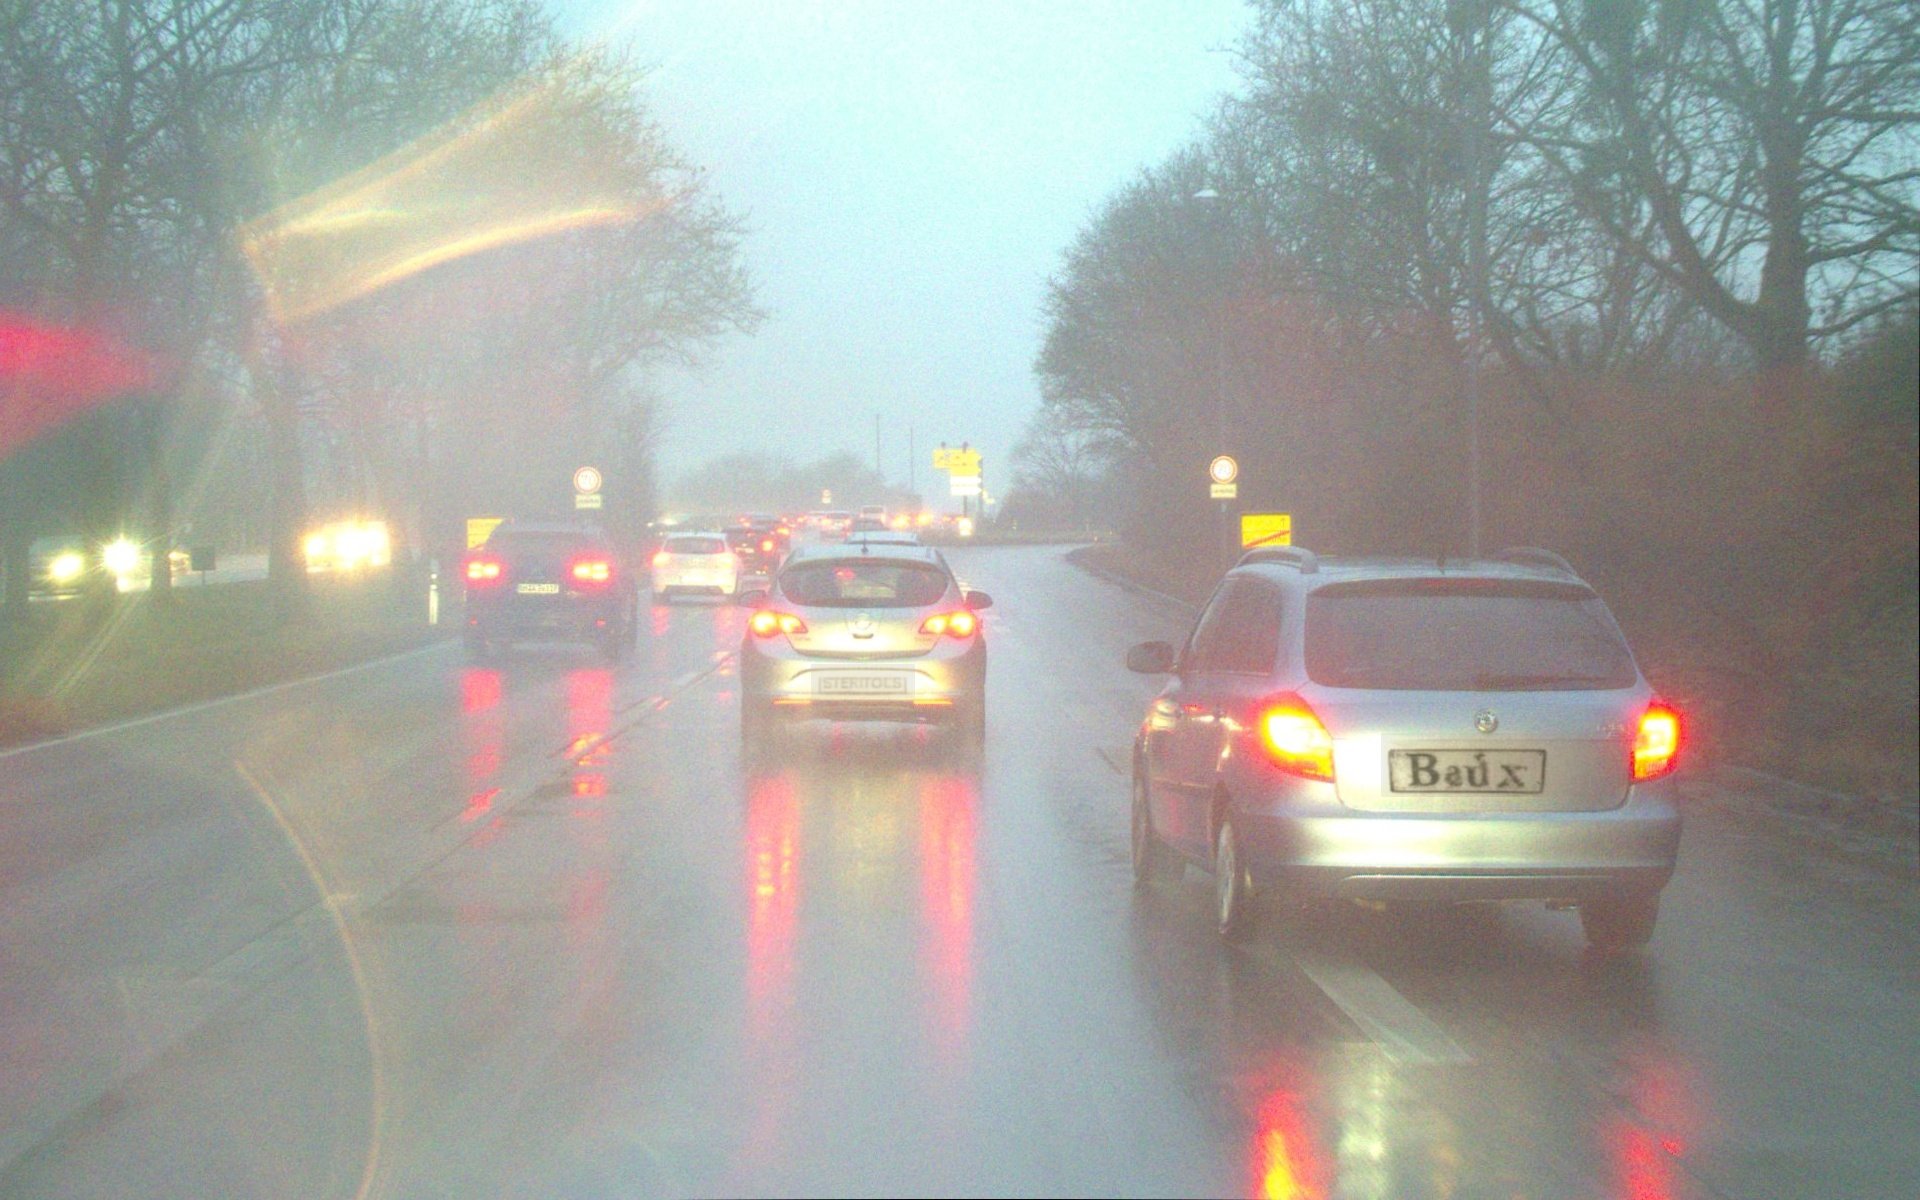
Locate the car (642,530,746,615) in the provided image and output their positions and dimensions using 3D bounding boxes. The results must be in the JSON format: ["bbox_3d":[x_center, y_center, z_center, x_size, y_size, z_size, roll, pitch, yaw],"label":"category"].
[{"bbox_3d":[-5.349,-0.553,69.448,1.822,1.642,4.000,0,0,-1],"label":"car"}]

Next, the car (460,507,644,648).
[{"bbox_3d":[-4.952,-0.276,42.206,1.822,1.642,4.000,0,0,-1],"label":"car"}]

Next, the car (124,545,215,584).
[{"bbox_3d":[-25.399,-1.136,110.593,1.993,1.187,4.000,1,0,0],"label":"car"}]

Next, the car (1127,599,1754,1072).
[{"bbox_3d":[1.819,0.842,14.463,1.933,1.642,4.466,1,0,-1],"label":"car"}]

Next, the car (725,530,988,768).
[{"bbox_3d":[-0.752,0.350,26.410,1.822,1.642,4.466,1,0,-1],"label":"car"}]

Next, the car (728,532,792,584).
[{"bbox_3d":[-5.262,-1.094,90.667,1.505,1.334,4.000,0,0,-1],"label":"car"}]

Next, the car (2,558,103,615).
[{"bbox_3d":[-22.332,-0.346,84.698,1.637,1.335,4.001,1,1,-3],"label":"car"}]
